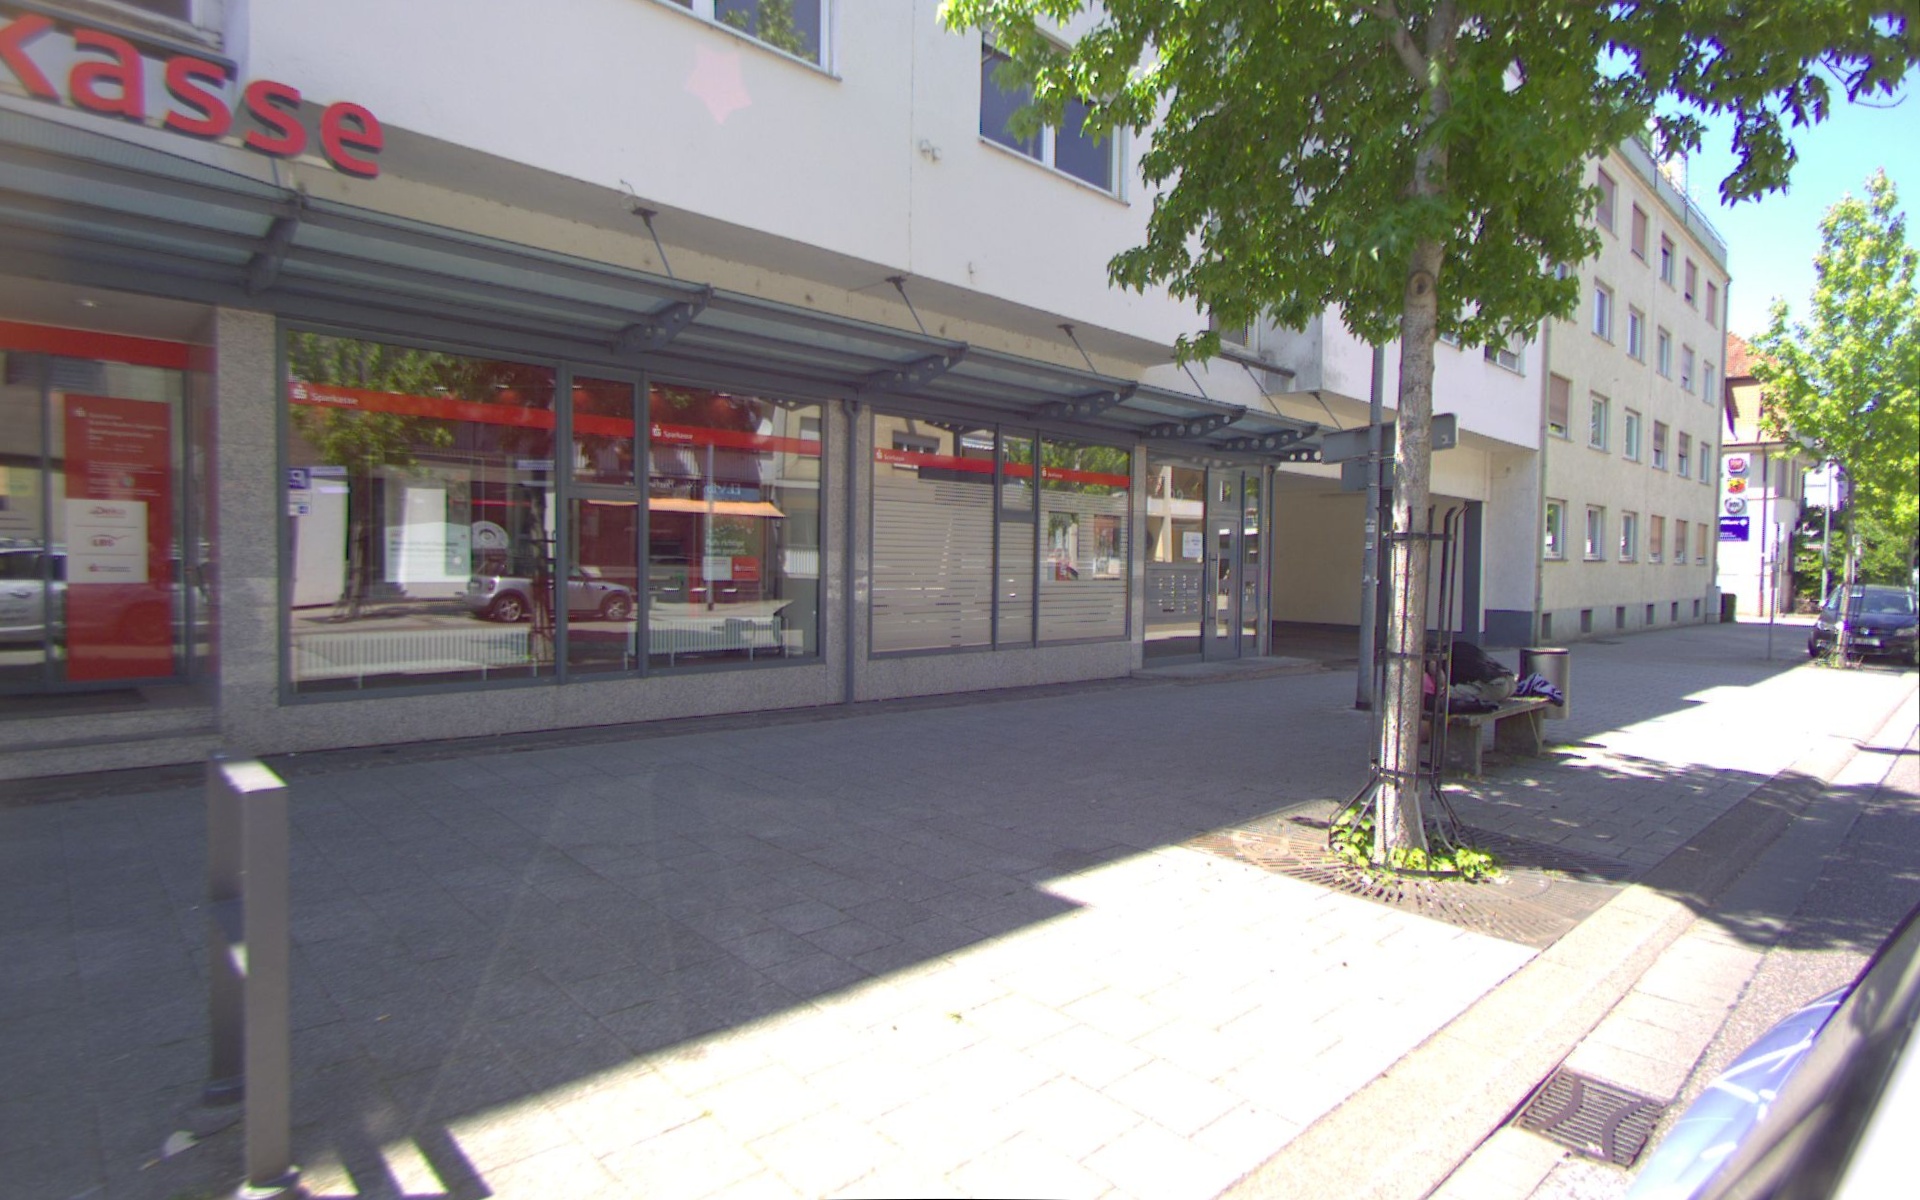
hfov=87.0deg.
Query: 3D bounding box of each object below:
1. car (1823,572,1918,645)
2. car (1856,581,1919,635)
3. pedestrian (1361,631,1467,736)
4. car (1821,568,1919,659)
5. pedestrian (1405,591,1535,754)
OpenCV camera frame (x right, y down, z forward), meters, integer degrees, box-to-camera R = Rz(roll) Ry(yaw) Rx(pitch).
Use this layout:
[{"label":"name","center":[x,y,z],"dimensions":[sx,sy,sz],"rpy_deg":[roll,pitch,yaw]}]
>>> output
[{"label":"car","center":[23.971,0.155,26.605],"dimensions":[1.689,1.743,4.069],"rpy_deg":[3,2,44]},{"label":"car","center":[28.349,0.207,30.460],"dimensions":[4.064,1.506,1.691],"rpy_deg":[-1,2,-43]},{"label":"pedestrian","center":[4.151,0.741,9.268],"dimensions":[0.527,0.862,0.681],"rpy_deg":[0,3,-29]},{"label":"car","center":[20.284,0.242,22.310],"dimensions":[1.689,1.742,3.938],"rpy_deg":[6,5,43]},{"label":"pedestrian","center":[4.230,0.572,8.427],"dimensions":[0.527,1.255,0.764],"rpy_deg":[0,2,-29]}]
